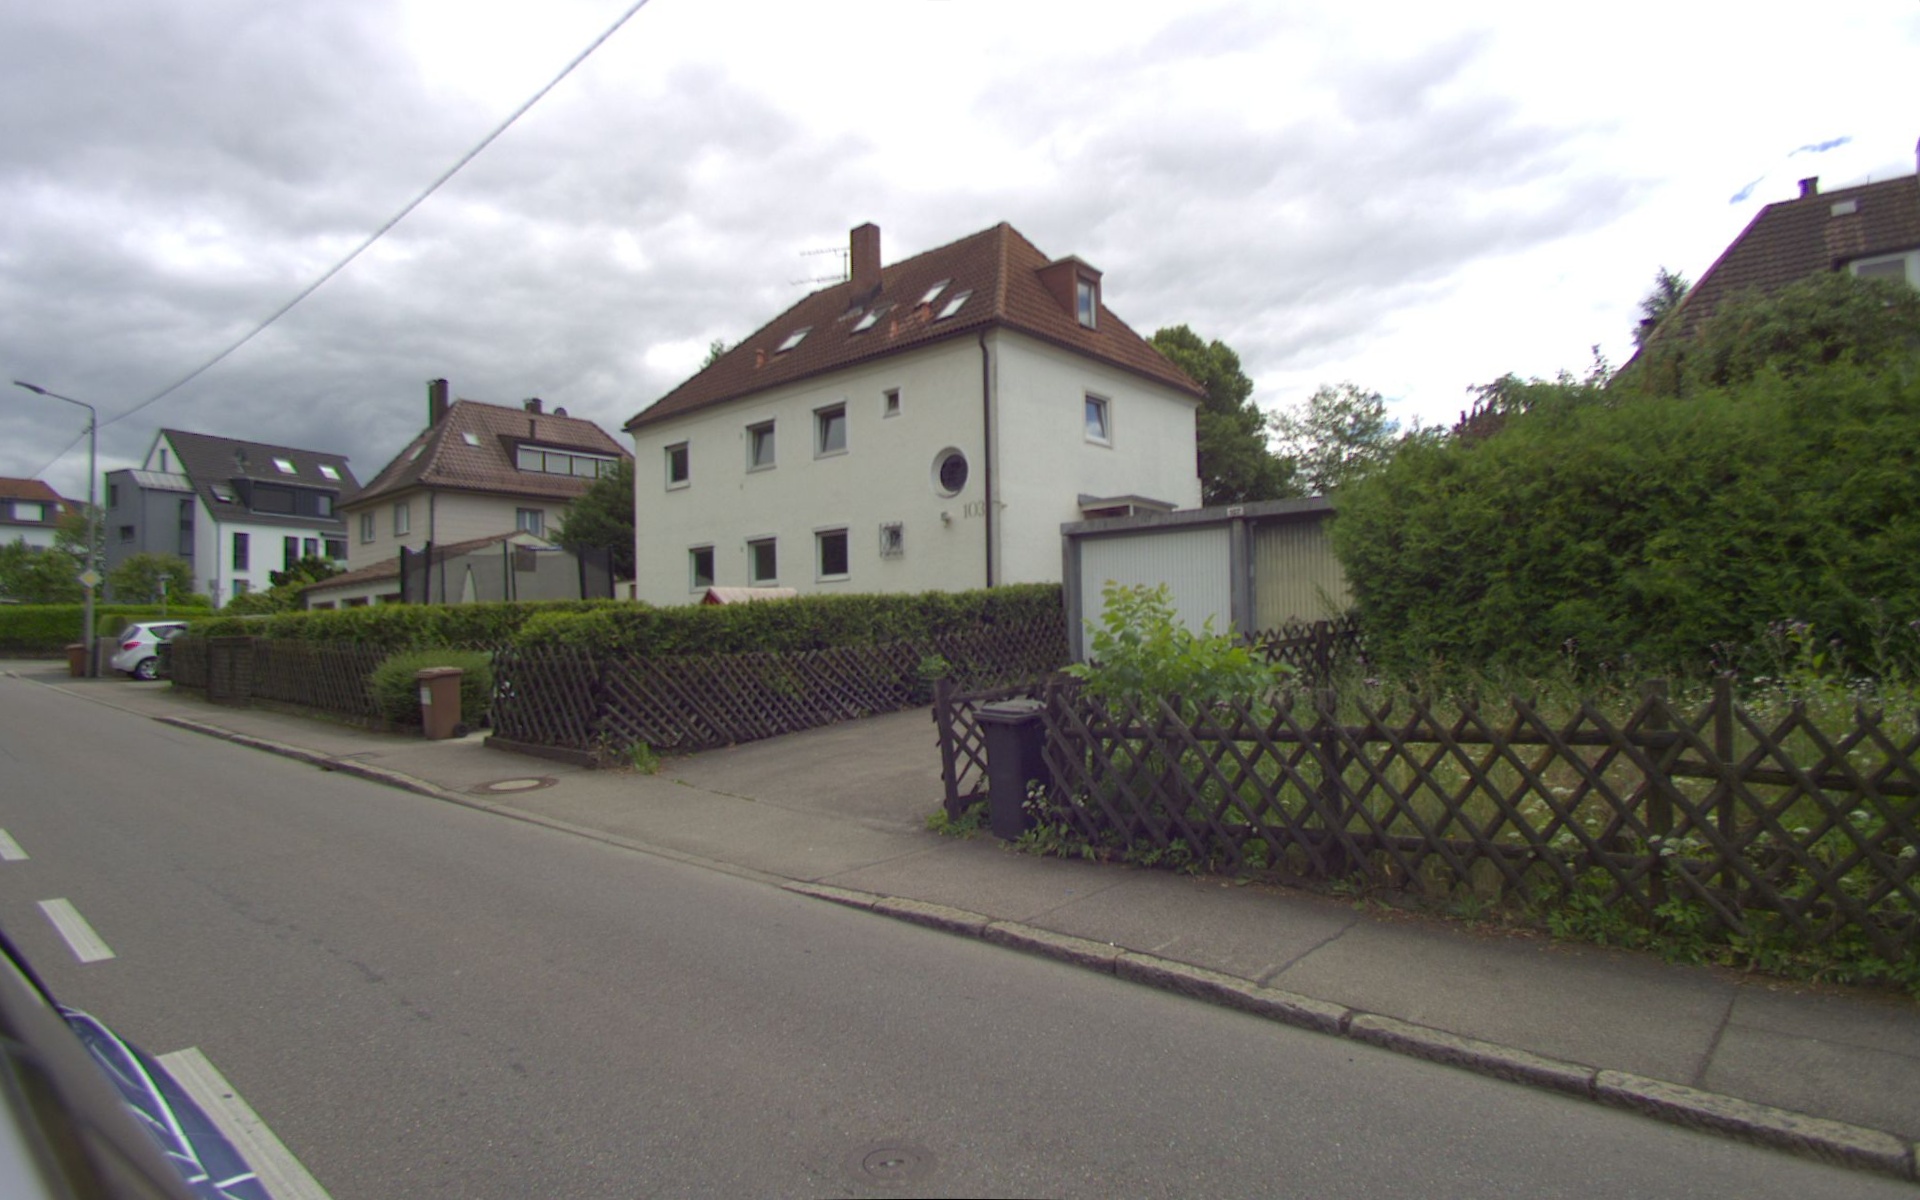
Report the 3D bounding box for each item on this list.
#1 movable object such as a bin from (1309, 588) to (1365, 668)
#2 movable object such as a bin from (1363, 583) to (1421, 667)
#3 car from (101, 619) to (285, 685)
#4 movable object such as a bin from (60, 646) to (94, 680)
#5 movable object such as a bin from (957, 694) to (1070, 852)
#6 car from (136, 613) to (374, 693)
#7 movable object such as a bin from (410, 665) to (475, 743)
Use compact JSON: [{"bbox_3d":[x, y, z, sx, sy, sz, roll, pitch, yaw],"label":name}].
[{"bbox_3d":[4.965,0.365,13.329,0.500,1.021,0.487,-5,-3,42],"label":"movable object such as a bin"},{"bbox_3d":[5.486,0.317,12.852,0.500,1.021,0.487,-5,-3,42],"label":"movable object such as a bin"},{"bbox_3d":[-22.011,1.434,29.161,1.718,1.606,3.946,-1,1,41],"label":"car"},{"bbox_3d":[-25.755,1.839,29.533,0.678,0.961,0.573,1,-2,-34],"label":"movable object such as a bin"},{"bbox_3d":[0.359,1.138,6.840,0.537,0.945,0.544,-2,-2,43],"label":"movable object such as a bin"},{"bbox_3d":[-17.816,1.266,25.766,1.881,1.682,4.624,-1,1,39],"label":"car"},{"bbox_3d":[-6.697,1.328,13.093,0.625,0.920,0.561,-1,-1,-39],"label":"movable object such as a bin"}]
